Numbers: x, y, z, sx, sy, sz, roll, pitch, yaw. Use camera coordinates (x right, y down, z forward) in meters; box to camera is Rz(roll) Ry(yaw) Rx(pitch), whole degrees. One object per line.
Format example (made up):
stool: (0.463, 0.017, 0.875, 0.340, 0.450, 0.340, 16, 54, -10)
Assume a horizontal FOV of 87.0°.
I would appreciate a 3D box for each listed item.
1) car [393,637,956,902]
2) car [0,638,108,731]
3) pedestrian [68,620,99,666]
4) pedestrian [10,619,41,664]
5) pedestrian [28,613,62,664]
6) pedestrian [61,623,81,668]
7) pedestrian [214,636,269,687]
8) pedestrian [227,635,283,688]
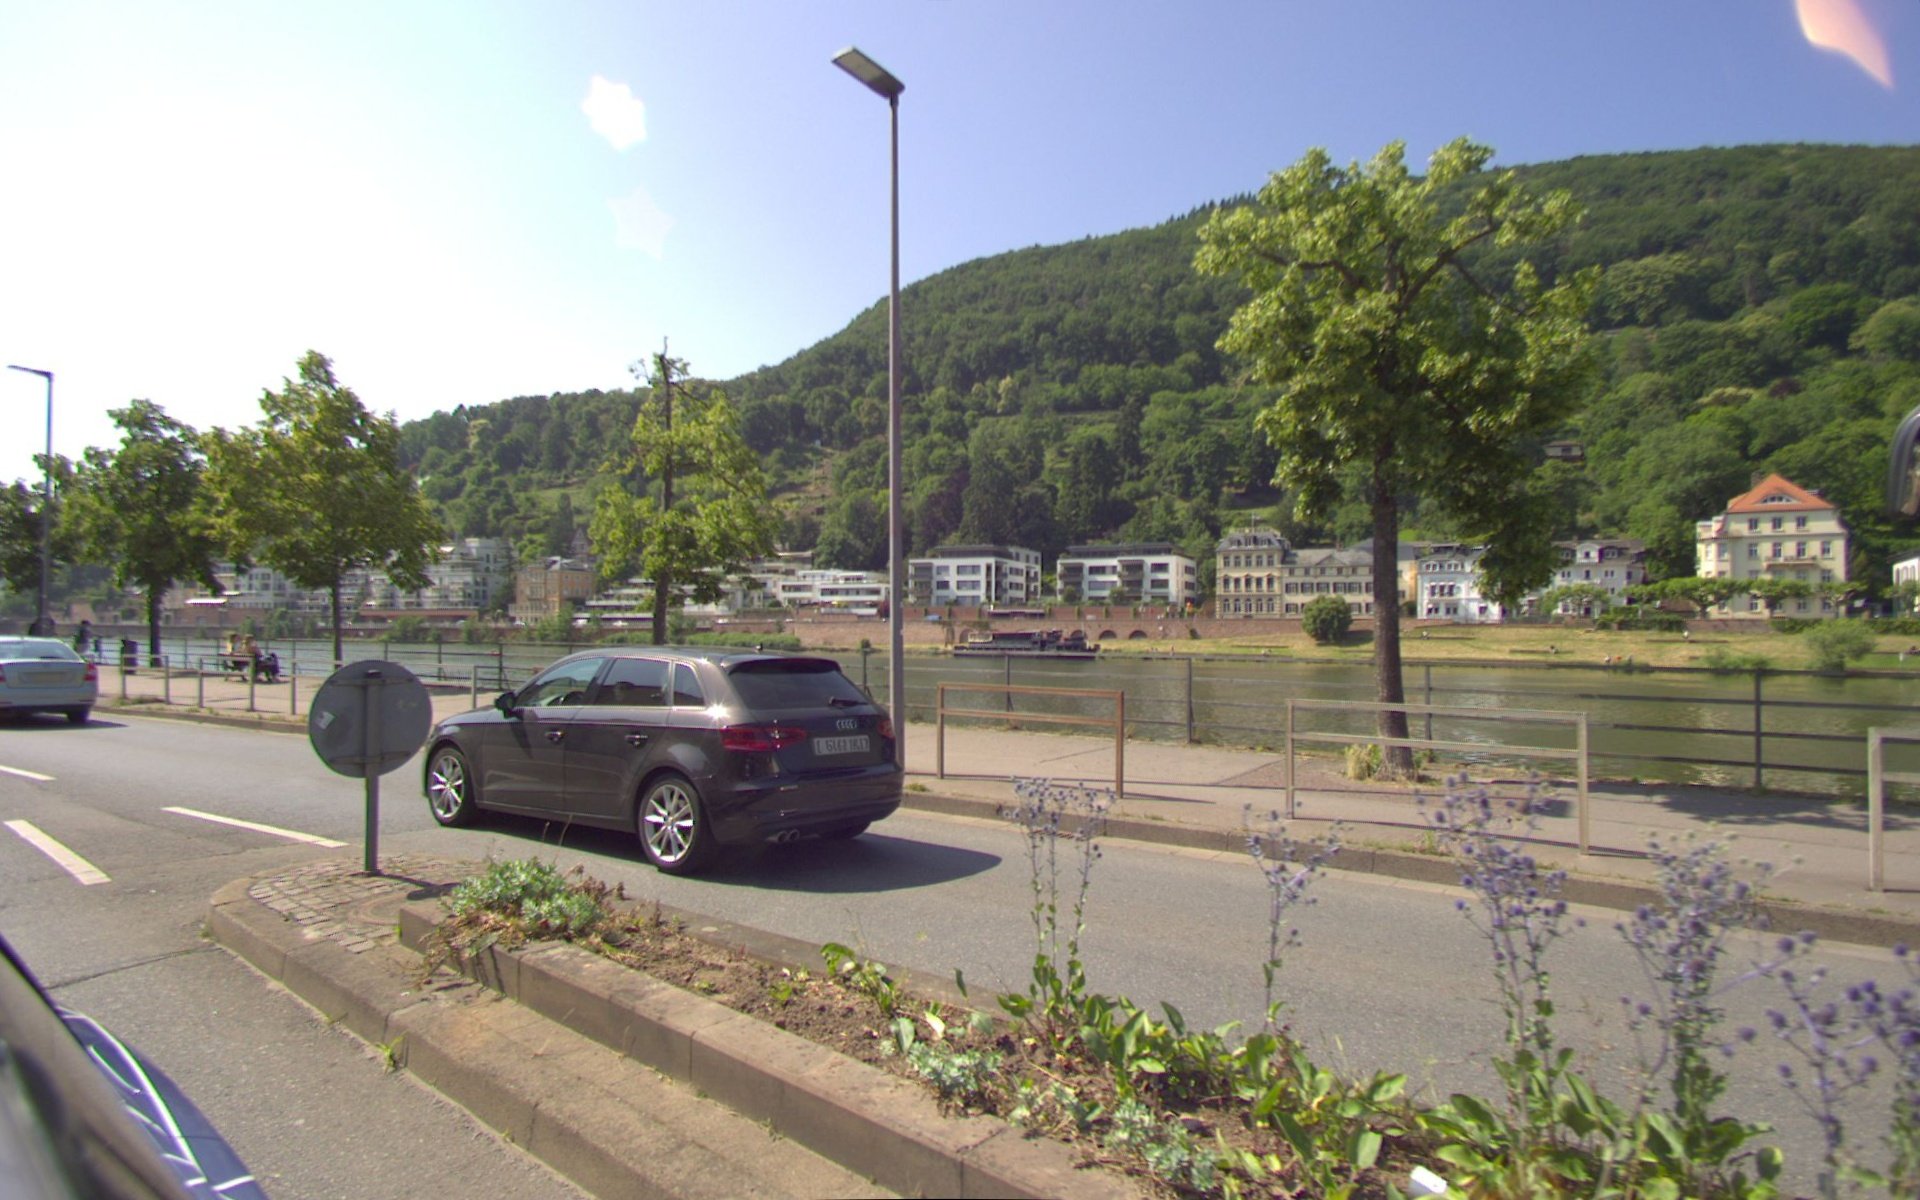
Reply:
car: (-2.250, 1.019, 7.549, 4.183, 1.440, 1.801, -1, -3, 35)
car: (-16.406, 1.384, 17.172, 4.298, 1.439, 1.798, -2, -4, 34)
pedestrian: (-31.775, 1.551, 36.686, 0.662, 1.628, 0.687, -1, -2, 35)
pedestrian: (-36.709, 1.614, 39.750, 0.656, 1.695, 0.750, 0, 1, 32)
pedestrian: (-35.873, 1.496, 39.682, 0.882, 1.960, 0.689, -1, -2, 27)
pedestrian: (-32.389, 1.645, 36.865, 0.450, 1.610, 0.411, -1, -2, 36)
pedestrian: (-18.610, 1.573, 26.221, 0.848, 1.291, 0.928, -1, -2, 37)
pedestrian: (-17.881, 1.541, 25.674, 0.848, 1.291, 0.928, -1, -2, 37)
